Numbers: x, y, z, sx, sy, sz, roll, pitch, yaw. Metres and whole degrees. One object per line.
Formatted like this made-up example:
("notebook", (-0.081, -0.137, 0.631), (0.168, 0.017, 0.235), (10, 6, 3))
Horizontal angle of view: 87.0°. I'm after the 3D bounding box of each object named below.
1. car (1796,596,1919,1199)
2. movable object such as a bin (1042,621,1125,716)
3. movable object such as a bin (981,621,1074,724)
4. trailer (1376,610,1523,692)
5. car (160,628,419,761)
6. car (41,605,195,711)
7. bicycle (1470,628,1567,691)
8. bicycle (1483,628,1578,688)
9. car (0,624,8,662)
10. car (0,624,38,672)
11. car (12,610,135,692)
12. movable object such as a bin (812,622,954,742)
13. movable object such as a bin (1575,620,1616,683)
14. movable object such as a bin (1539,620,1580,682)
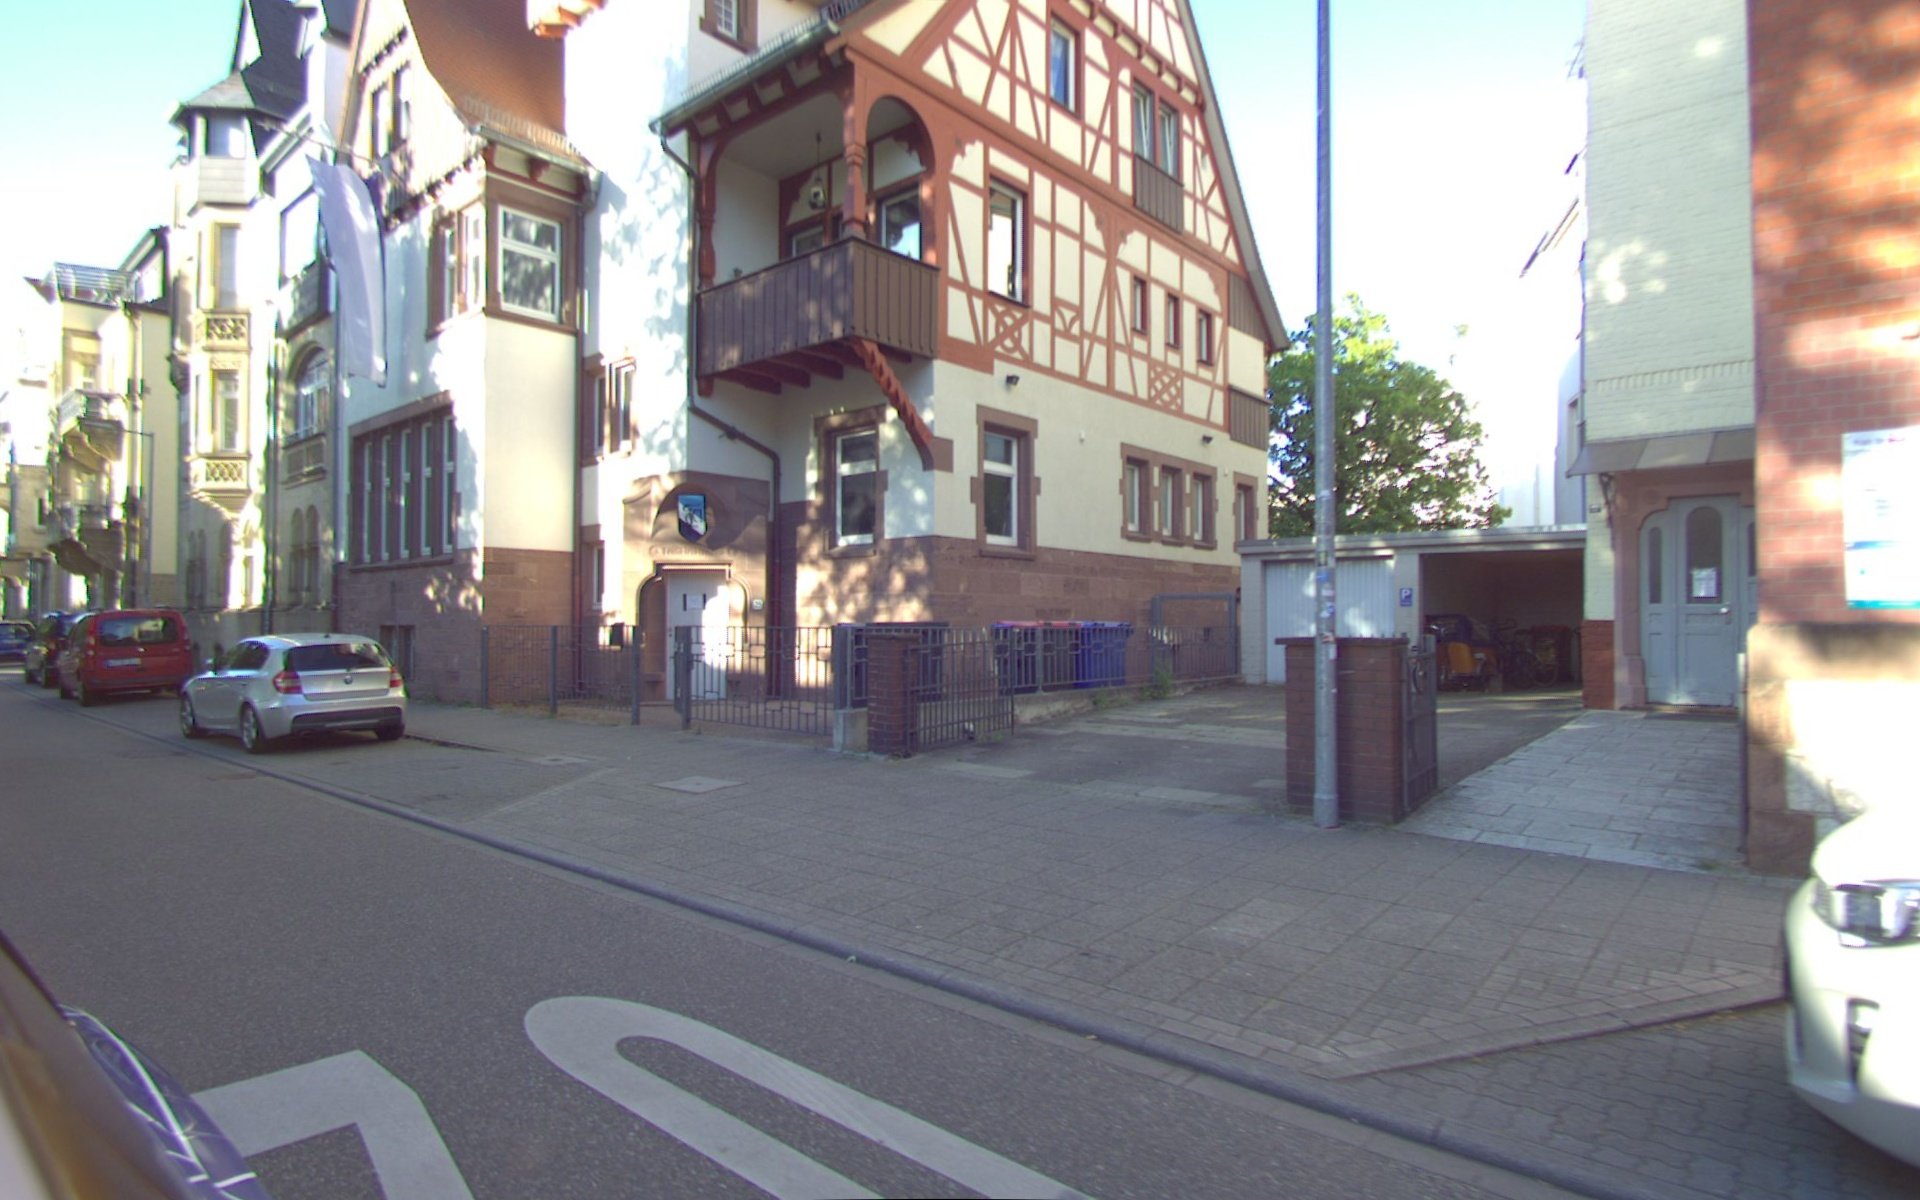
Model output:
("car", (4.059, 0.718, 1.886), (3.796, 1.497, 1.687), (-1, 0, 42))
("movable object such as a bin", (1.816, 0.975, 14.838), (0.631, 1.320, 1.188), (-2, -2, 43))
("movable object such as a bin", (0.948, 0.963, 13.913), (0.685, 1.327, 1.368), (-1, -2, 34))
("trailer", (7.714, 0.810, 15.931), (2.370, 1.228, 0.774), (2, -3, -26))
("car", (-8.933, 1.118, 13.359), (4.099, 1.477, 1.727), (-1, -1, 39))
("car", (-17.262, 1.108, 20.681), (4.323, 1.921, 1.779), (-1, 0, 41))
("bicycle", (9.635, 1.010, 17.506), (0.662, 1.026, 1.376), (3, -2, -18))
("bicycle", (10.118, 1.012, 18.000), (0.534, 0.999, 1.489), (3, -2, -18))
("car", (-38.993, 1.728, 39.737), (4.539, 1.449, 1.881), (-1, 1, 41))
("car", (-32.236, 1.605, 33.900), (2.860, 1.520, 1.666), (-1, 1, 41))
("car", (-22.202, 1.207, 25.291), (4.540, 1.866, 1.751), (-2, -1, 41))
("movable object such as a bin", (-0.906, 0.922, 11.933), (1.358, 1.309, 0.970), (1, -2, -39))
("movable object such as a bin", (11.793, 0.948, 18.780), (0.537, 1.133, 0.768), (-2, -2, 40))
("movable object such as a bin", (11.289, 0.950, 19.056), (0.537, 1.133, 0.768), (-2, -2, 40))
